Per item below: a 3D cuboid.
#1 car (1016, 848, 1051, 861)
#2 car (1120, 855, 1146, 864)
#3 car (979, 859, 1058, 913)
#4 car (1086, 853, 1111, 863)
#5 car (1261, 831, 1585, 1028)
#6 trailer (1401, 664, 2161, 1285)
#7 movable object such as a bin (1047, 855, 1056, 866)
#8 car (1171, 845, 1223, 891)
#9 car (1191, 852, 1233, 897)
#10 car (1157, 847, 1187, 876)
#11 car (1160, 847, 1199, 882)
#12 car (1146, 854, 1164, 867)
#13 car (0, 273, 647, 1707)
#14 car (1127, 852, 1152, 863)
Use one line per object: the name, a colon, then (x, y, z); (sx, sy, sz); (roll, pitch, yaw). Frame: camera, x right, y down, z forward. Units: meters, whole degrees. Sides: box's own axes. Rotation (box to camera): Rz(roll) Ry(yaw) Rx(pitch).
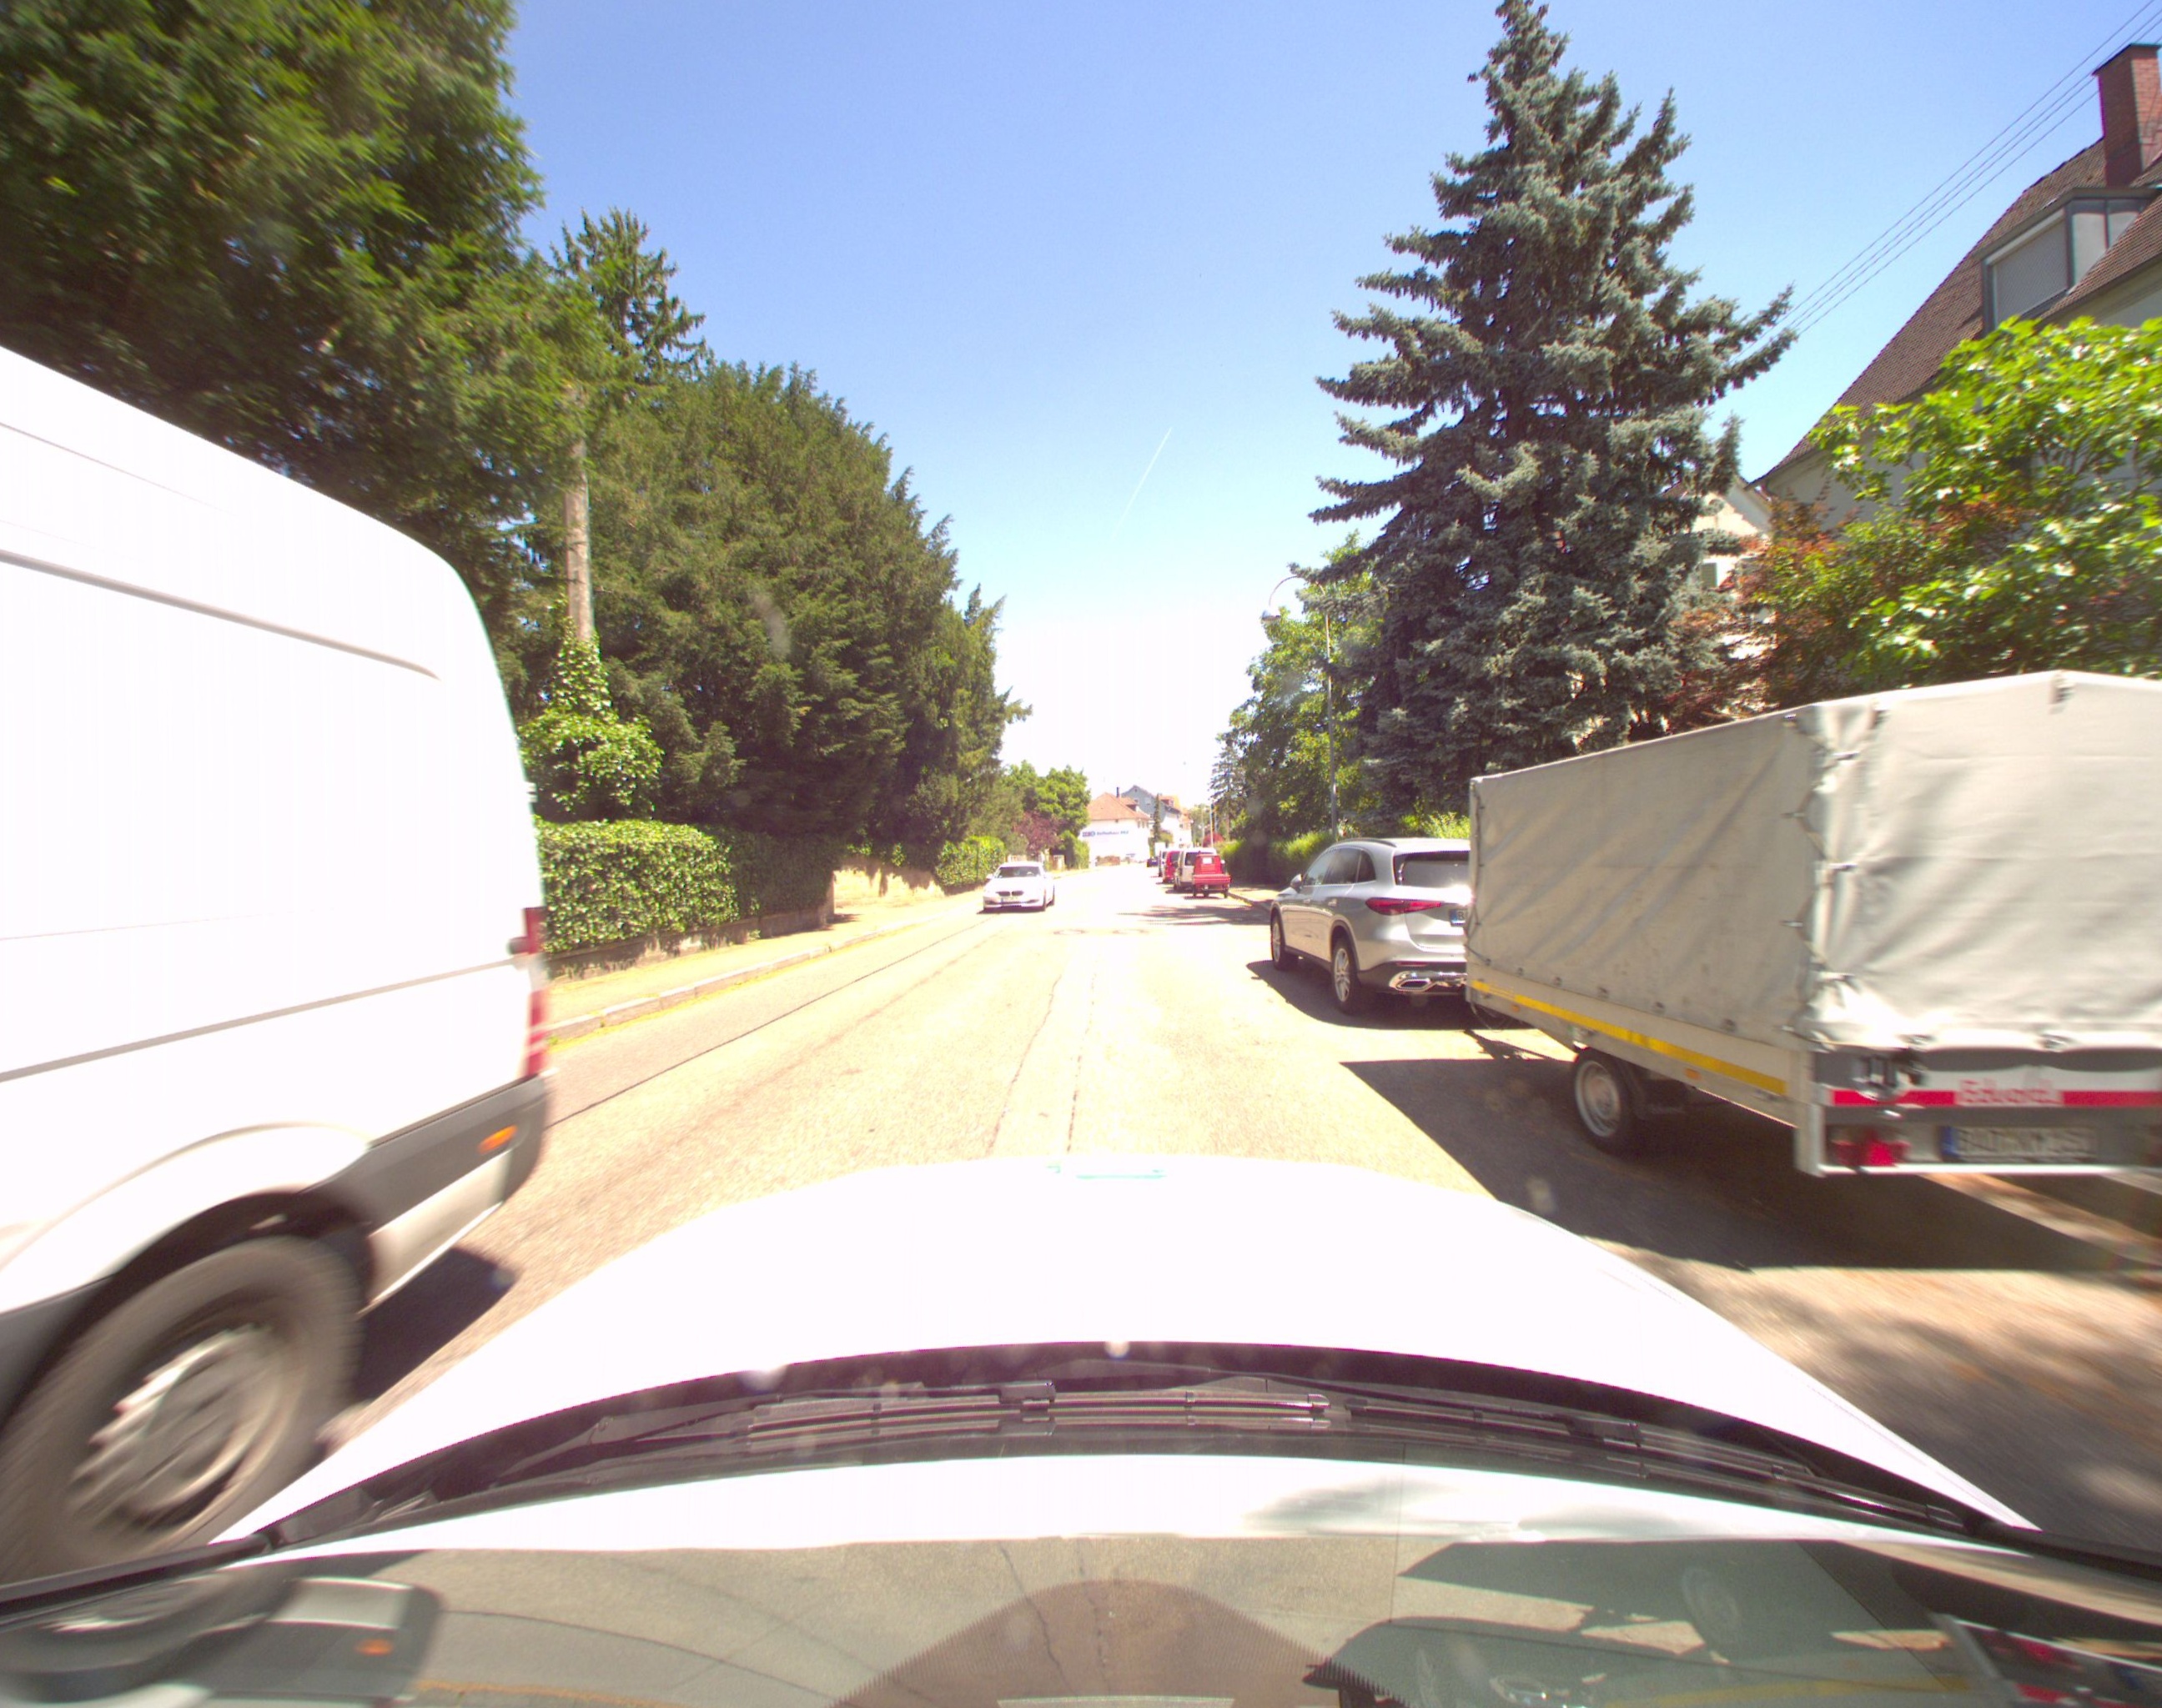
car: (-5.680, 0.041, 97.338); (3.973, 1.510, 1.800); (0, 0, 0)
car: (8.546, 0.858, 134.077); (1.922, 1.343, 4.091); (-2, 0, -43)
car: (-1.808, 0.922, 25.083); (1.857, 1.383, 4.606); (-2, 0, 2)
car: (2.750, 0.612, 129.469); (1.810, 1.510, 3.952); (-2, 1, -41)
car: (3.335, 0.613, 9.040); (1.765, 1.632, 4.605); (0, 0, 1)
trailer: (3.318, 0.393, 4.568); (1.674, 2.068, 3.709); (0, 0, 1)
movable object such as a bin: (-2.551, 0.568, 70.843); (0.705, 0.996, 0.474); (-1, 0, 3)
car: (4.701, 0.547, 33.559); (1.739, 1.782, 4.547); (0, 0, 3)
car: (4.583, 0.693, 28.689); (1.254, 1.495, 2.712); (0, 0, 5)
car: (6.315, 0.490, 56.918); (1.894, 1.924, 4.724); (-1, 0, 4)
car: (5.193, 0.543, 43.448); (1.894, 1.728, 4.396); (0, 0, 4)
car: (8.764, 0.784, 96.244); (1.784, 1.510, 4.009); (0, 0, 8)
car: (-2.849, 0.300, 0.303); (1.986, 2.532, 5.897); (-2, 0, 2)
car: (10.049, 0.573, 139.507); (4.105, 1.774, 1.833); (-2, 0, 8)
